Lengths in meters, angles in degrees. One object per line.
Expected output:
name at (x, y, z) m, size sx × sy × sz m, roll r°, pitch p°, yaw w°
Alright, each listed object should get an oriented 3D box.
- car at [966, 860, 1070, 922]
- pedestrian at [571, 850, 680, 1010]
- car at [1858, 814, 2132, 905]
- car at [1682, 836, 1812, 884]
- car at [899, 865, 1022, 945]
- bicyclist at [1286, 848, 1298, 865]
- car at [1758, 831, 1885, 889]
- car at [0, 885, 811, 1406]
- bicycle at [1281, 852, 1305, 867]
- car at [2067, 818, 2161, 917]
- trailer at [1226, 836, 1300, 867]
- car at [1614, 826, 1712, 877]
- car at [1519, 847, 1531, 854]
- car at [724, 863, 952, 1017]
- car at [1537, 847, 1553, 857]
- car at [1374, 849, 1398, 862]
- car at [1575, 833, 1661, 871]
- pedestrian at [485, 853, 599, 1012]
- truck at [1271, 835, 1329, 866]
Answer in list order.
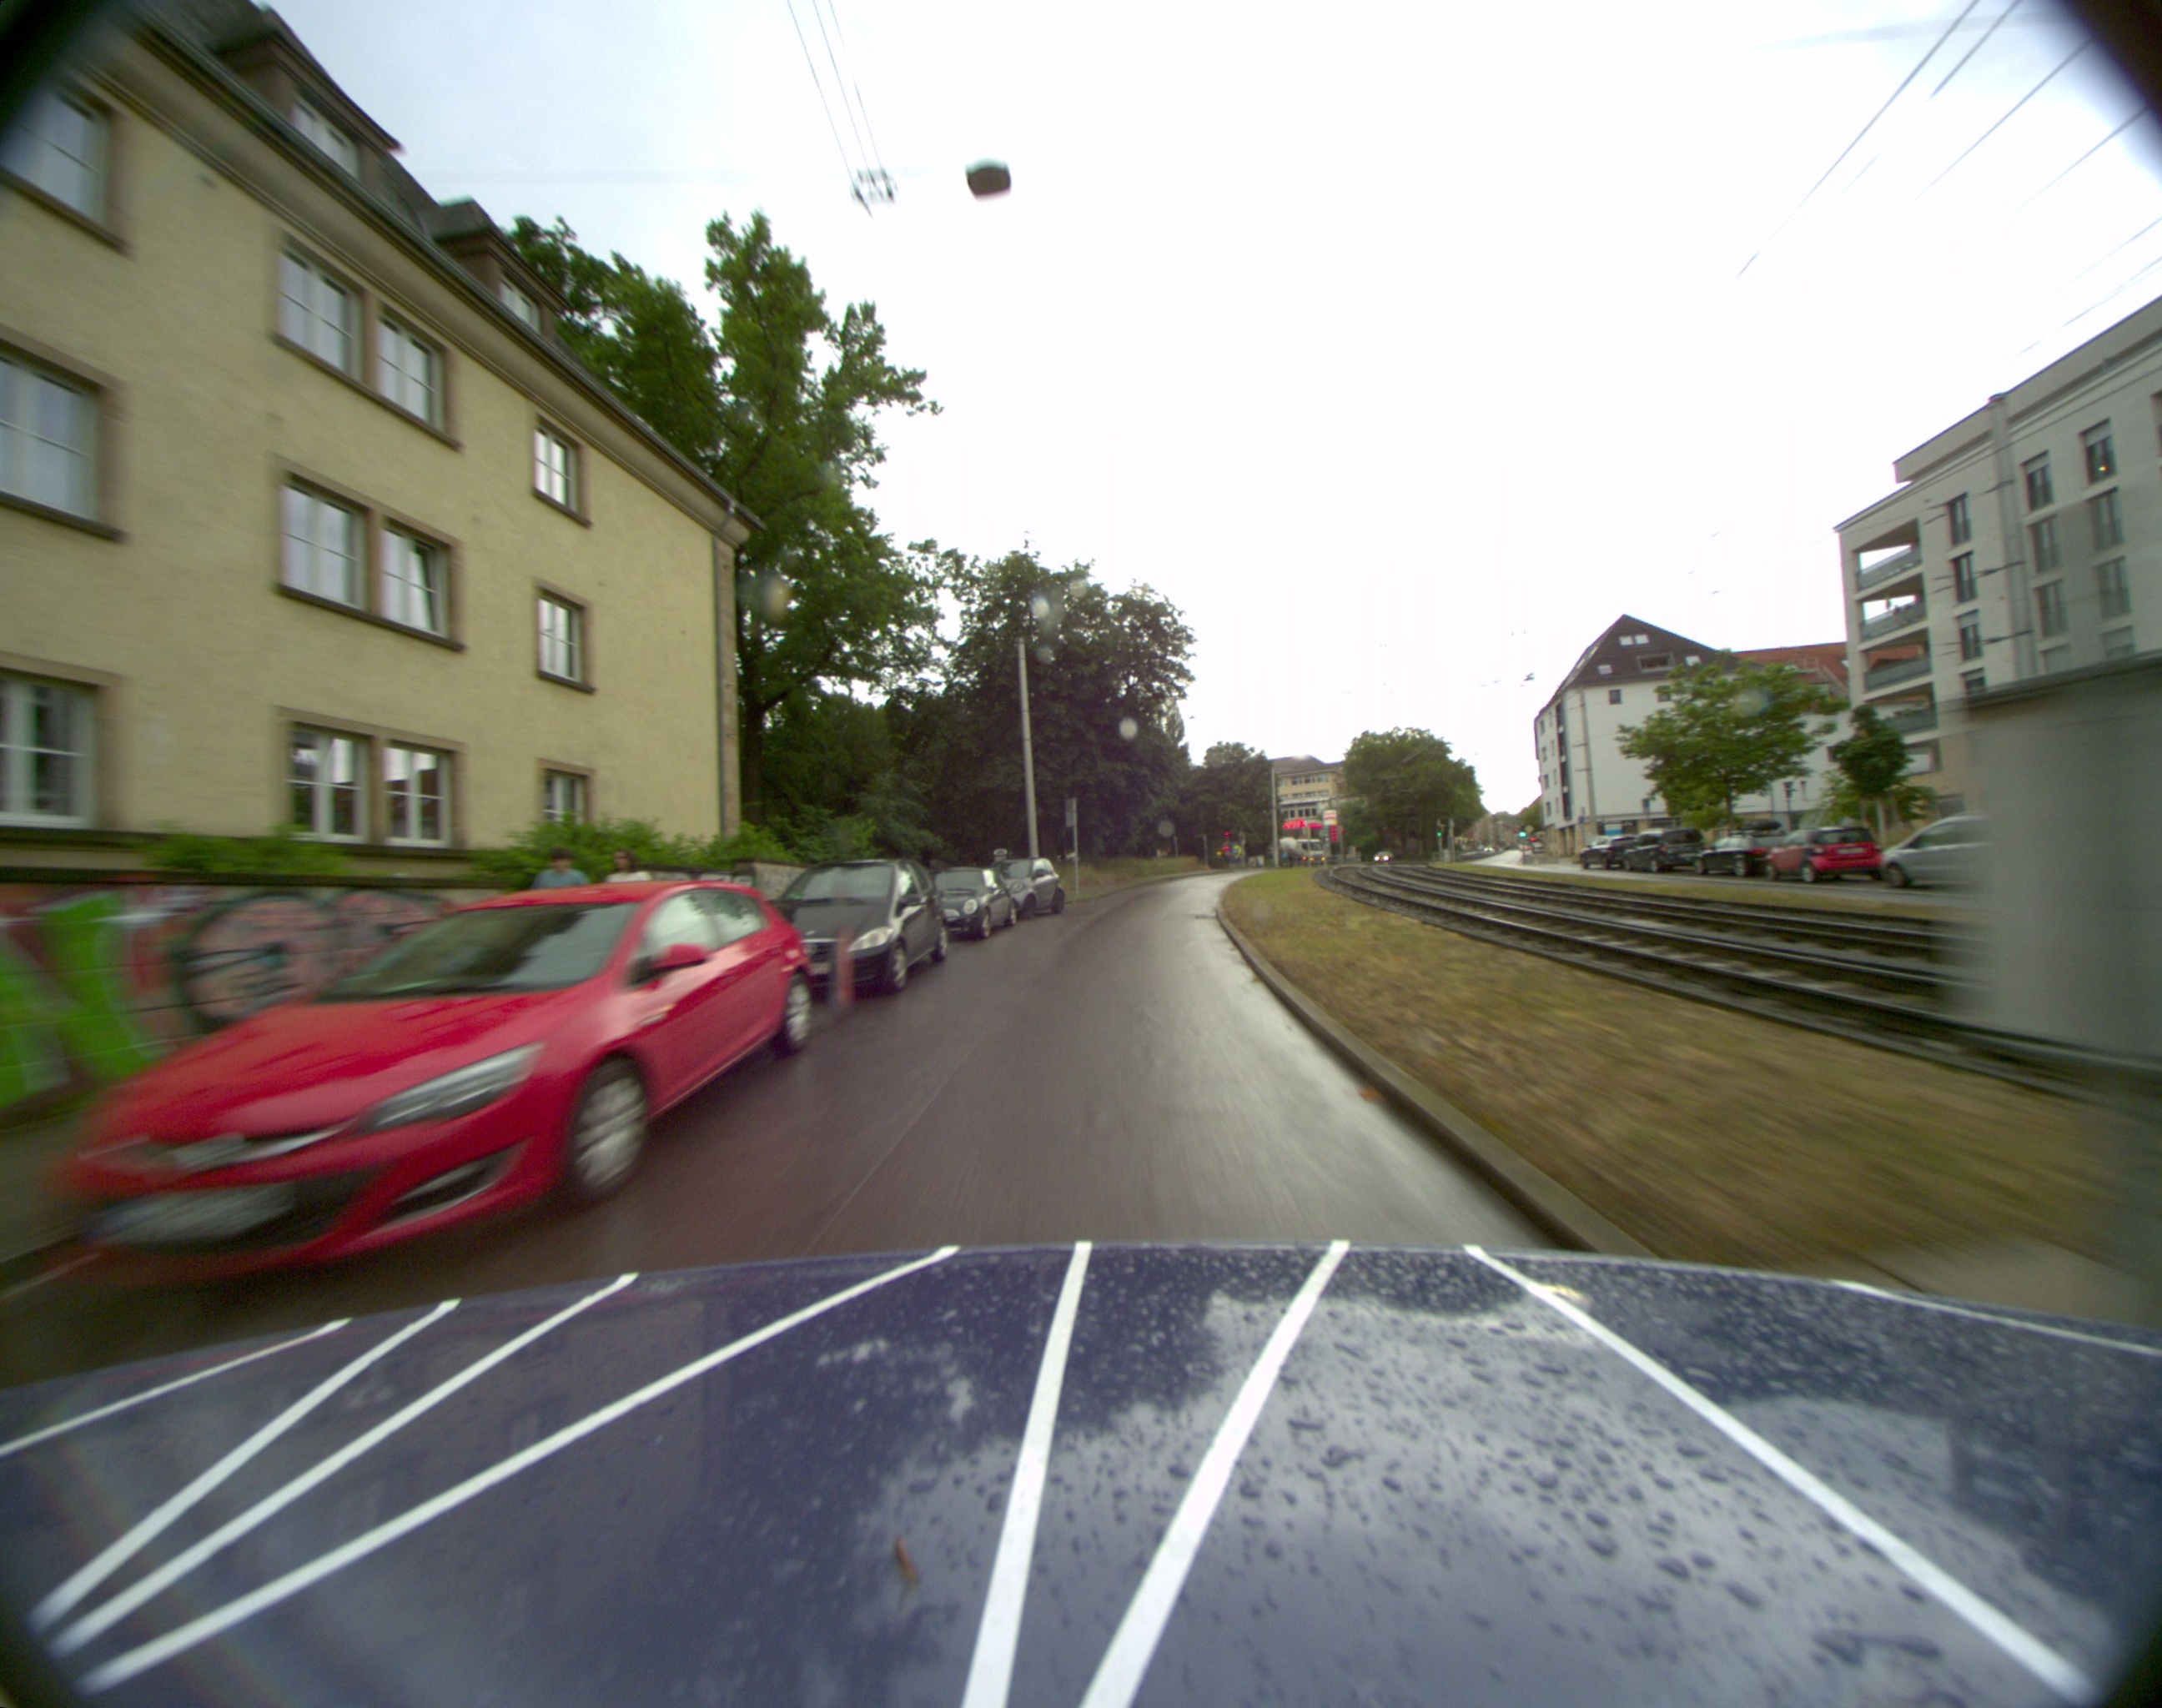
car at (-1.559, 0.900, 19.674) m, size 1.599 × 1.457 × 2.725 m, roll -1°, pitch 0°, yaw 22°
pedestrian at (-5.184, 0.833, 8.683) m, size 0.719 × 1.744 × 0.739 m, roll -1°, pitch 0°, yaw 10°
car at (20.272, 0.102, 17.191) m, size 1.665 × 1.737 × 4.261 m, roll -3°, pitch 0°, yaw 13°
car at (22.833, 0.169, 26.266) m, size 1.553 × 1.439 × 4.404 m, roll -4°, pitch -1°, yaw 15°
car at (-2.361, 0.972, 15.756) m, size 1.539 × 1.408 × 3.646 m, roll -1°, pitch 0°, yaw 7°
bicyclist at (16.474, 0.222, 59.334) m, size 0.799 × 1.287 × 0.595 m, roll -2°, pitch 1°, yaw 10°
car at (21.265, 0.166, 21.958) m, size 1.471 × 1.522 × 2.935 m, roll -2°, pitch 0°, yaw 19°
car at (-3.122, 1.035, 4.507) m, size 1.670 × 1.468 × 4.065 m, roll -3°, pitch 0°, yaw -2°
bicycle at (16.478, 0.439, 59.118) m, size 1.709 × 1.133 × 0.626 m, roll -2°, pitch 0°, yaw 11°
car at (18.805, 0.207, 11.778) m, size 1.734 × 1.634 × 4.536 m, roll -3°, pitch 0°, yaw 12°
trailer at (22.319, -0.242, 93.846) m, size 2.818 × 3.375 × 9.815 m, roll -2°, pitch 0°, yaw -30°
car at (23.909, -0.105, 31.411) m, size 1.583 × 1.848 × 4.337 m, roll -4°, pitch -1°, yaw 15°
car at (112.215, -0.859, 192.060) m, size 1.688 × 1.527 × 5.025 m, roll -2°, pitch -1°, yaw 19°
car at (-2.920, 0.944, 10.021) m, size 1.669 × 1.564 × 3.856 m, roll -1°, pitch 0°, yaw 1°
car at (79.989, -0.385, 131.007) m, size 2.026 × 1.533 × 4.007 m, roll -2°, pitch 0°, yaw 29°
car at (38.178, 0.190, 94.982) m, size 1.886 × 1.482 × 3.857 m, roll -2°, pitch 0°, yaw 36°
car at (25.405, -0.112, 36.122) m, size 1.996 × 1.595 × 4.220 m, roll -3°, pitch 0°, yaw 16°
pedestrian at (-6.179, 0.865, 8.745) m, size 0.719 × 1.744 × 0.739 m, roll -1°, pitch 0°, yaw 10°
truck at (25.425, -0.341, 88.558) m, size 2.842 × 3.379 × 6.112 m, roll -1°, pitch -1°, yaw -30°
